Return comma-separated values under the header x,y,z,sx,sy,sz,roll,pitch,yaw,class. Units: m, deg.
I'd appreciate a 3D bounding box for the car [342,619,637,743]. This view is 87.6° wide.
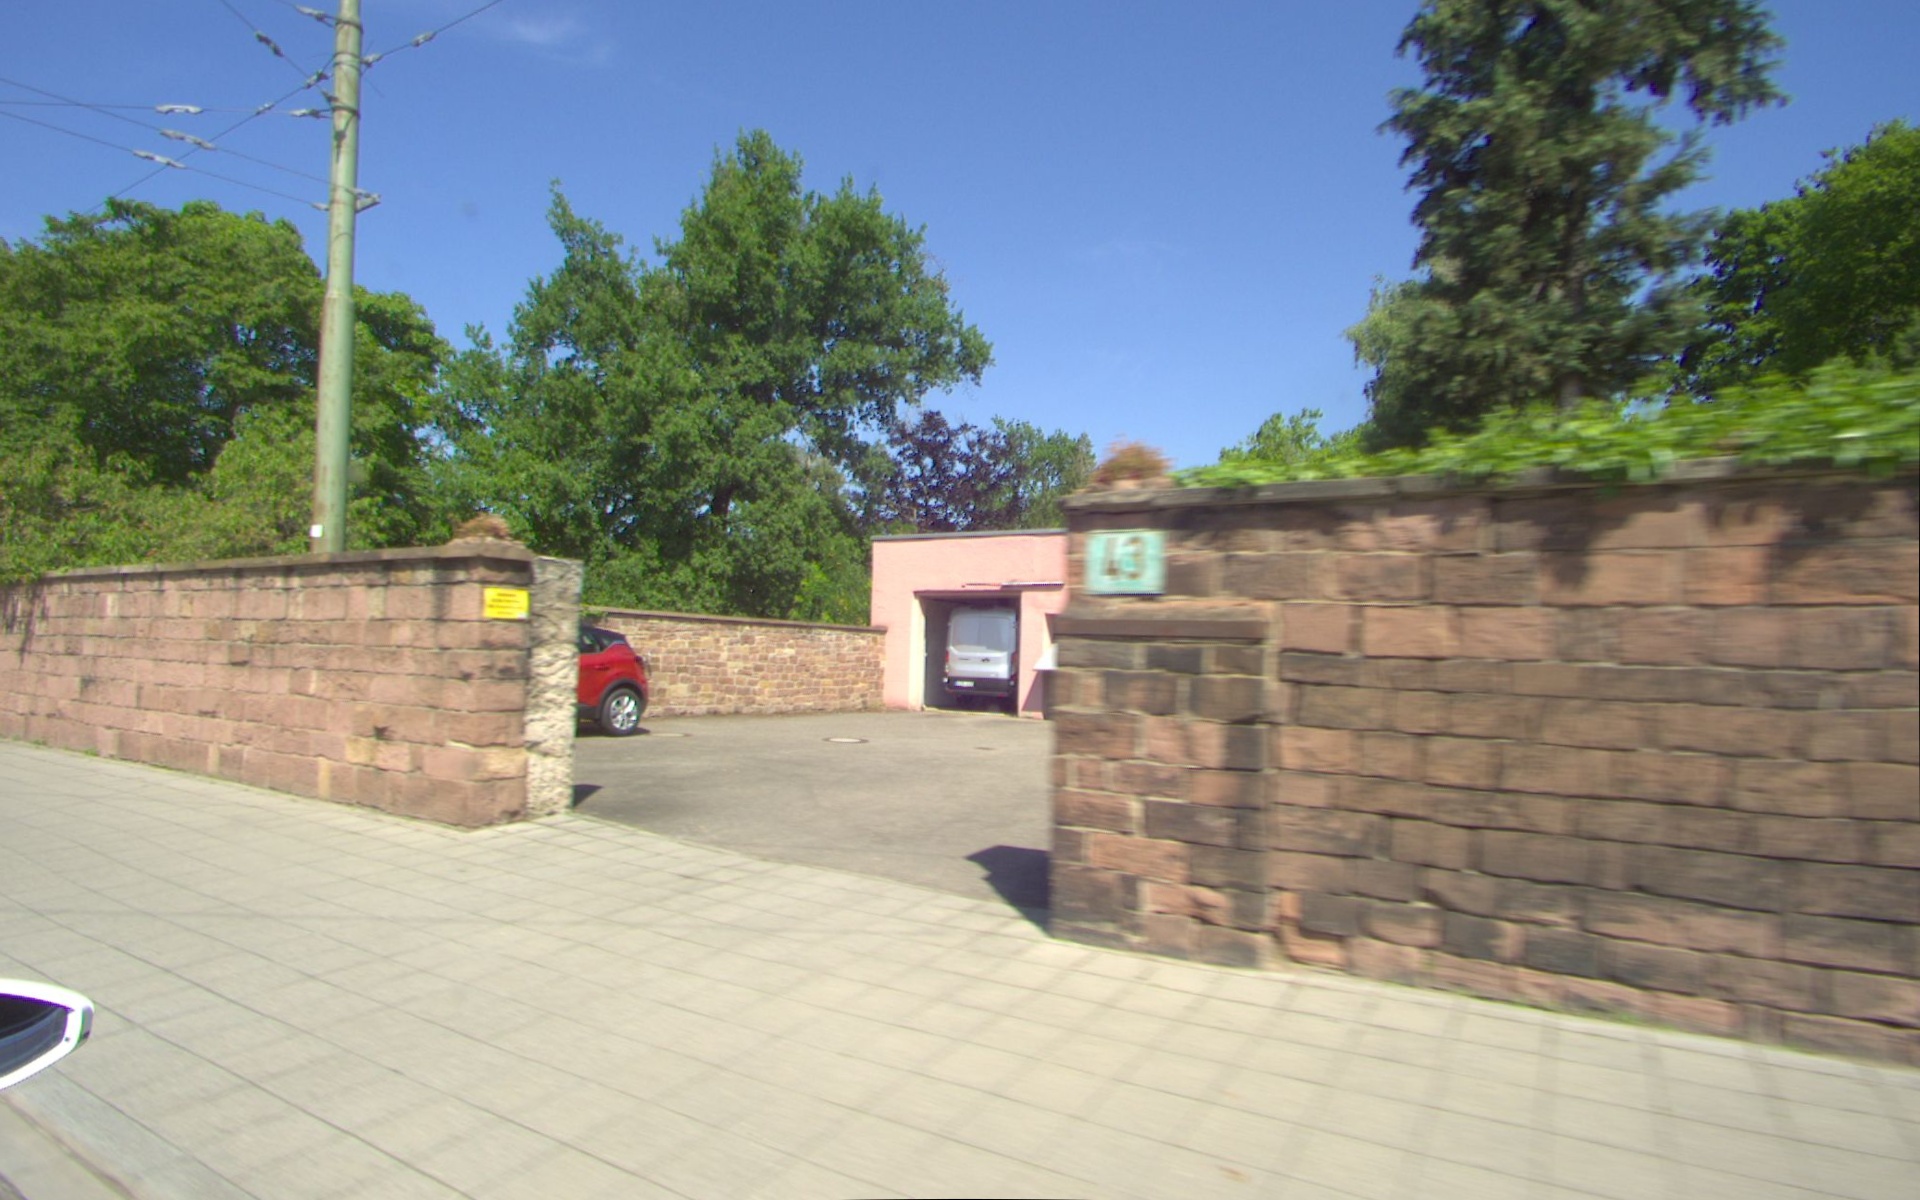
x,y,z,sx,sy,sz,roll,pitch,yaw,class
-6.359,1.087,13.877,1.502,1.482,3.405,0,-3,31,car
